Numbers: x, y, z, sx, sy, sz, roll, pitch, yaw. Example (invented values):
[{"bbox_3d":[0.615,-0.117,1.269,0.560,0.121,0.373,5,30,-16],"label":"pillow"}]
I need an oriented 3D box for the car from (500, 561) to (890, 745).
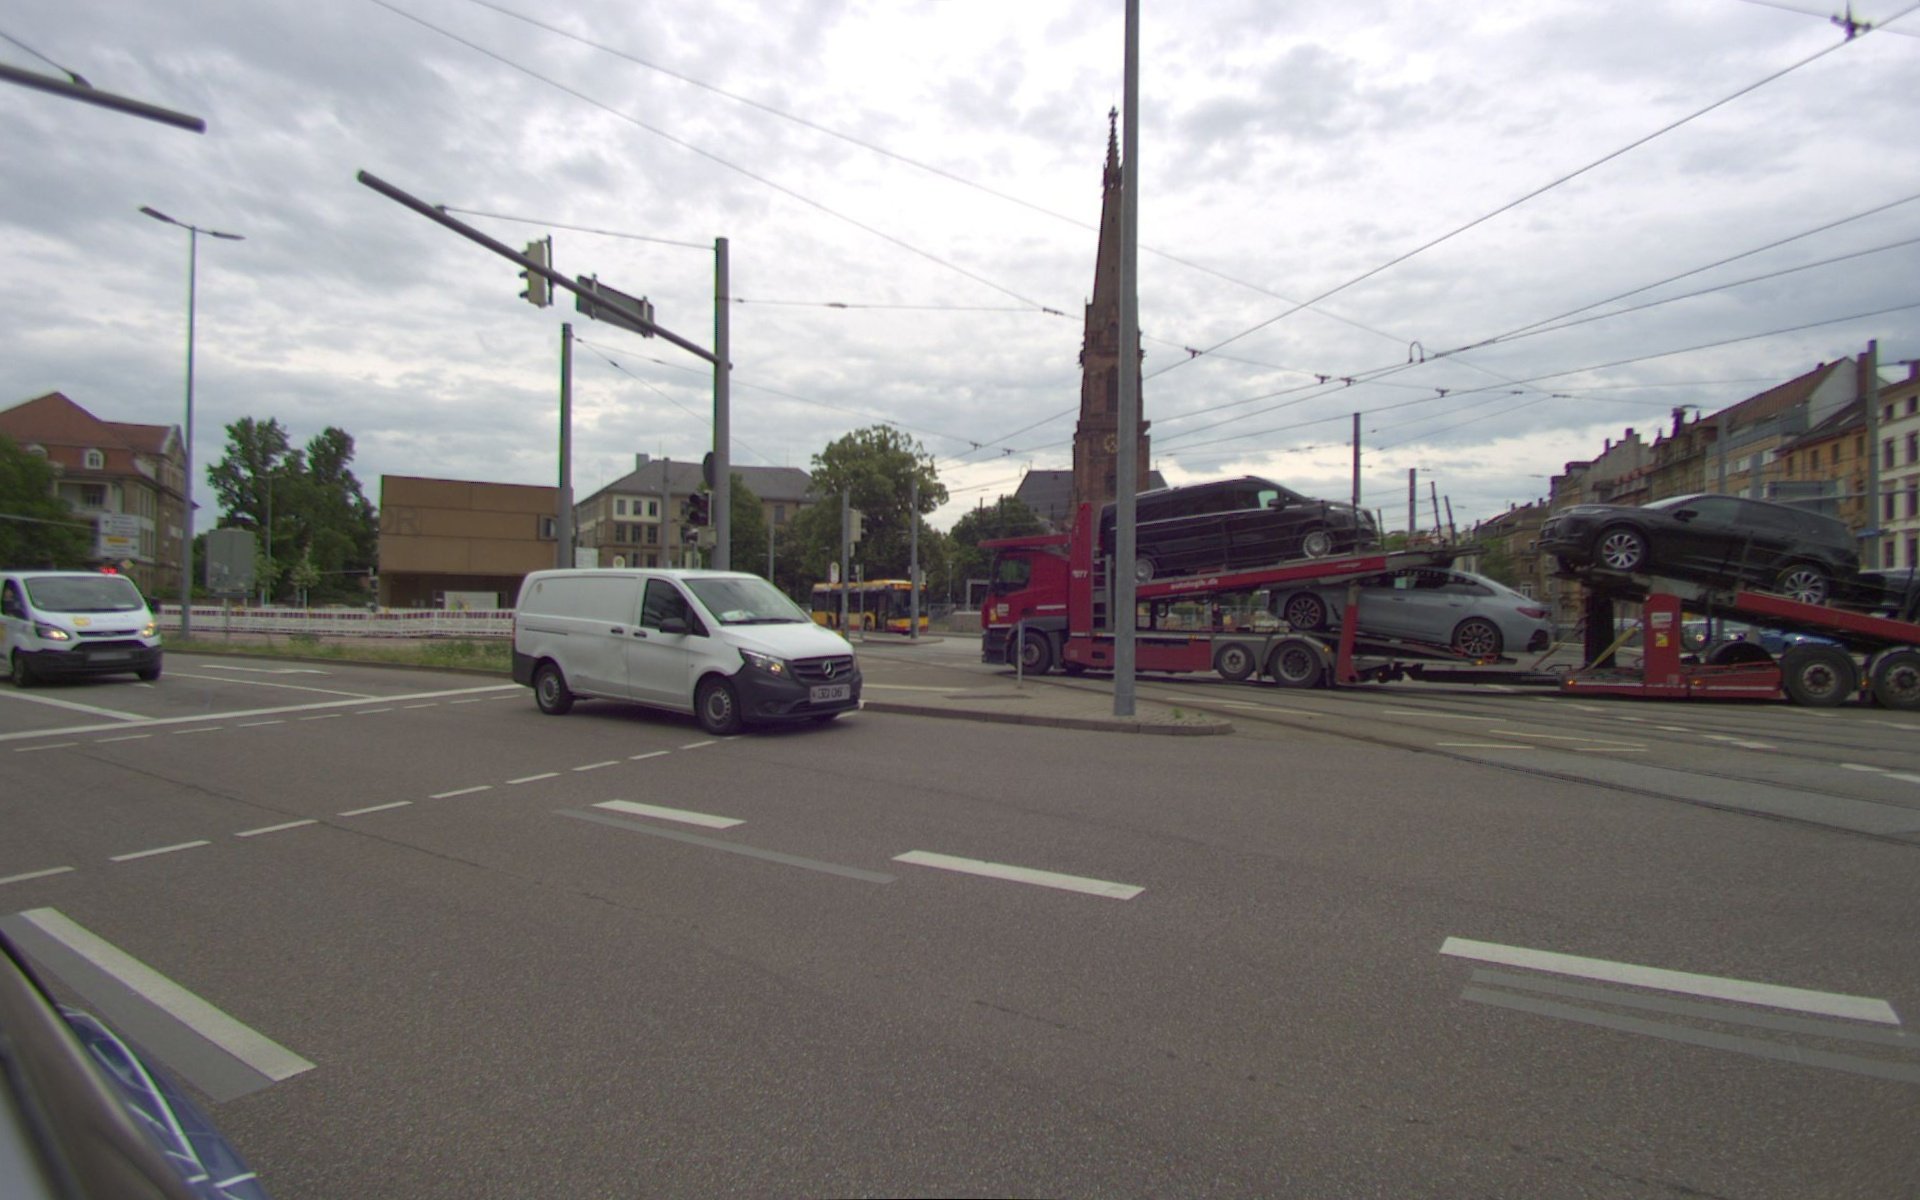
[{"bbox_3d":[-3.447,0.526,12.663,5.077,1.896,1.901,0,0,35],"label":"car"}]

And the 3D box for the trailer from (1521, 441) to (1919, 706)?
[{"bbox_3d":[14.990,-0.406,16.736,9.458,4.003,2.984,0,0,13],"label":"trailer"}]

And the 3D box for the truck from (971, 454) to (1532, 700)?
[{"bbox_3d":[5.427,-0.371,20.254,10.420,3.949,2.983,0,0,32],"label":"truck"}]

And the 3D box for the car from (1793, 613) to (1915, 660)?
[{"bbox_3d":[35.718,1.407,40.570,1.980,1.741,3.983,0,0,13],"label":"car"}]

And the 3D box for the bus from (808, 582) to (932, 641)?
[{"bbox_3d":[-5.536,0.616,59.075,2.815,3.100,12.059,0,0,-28],"label":"bus"}]

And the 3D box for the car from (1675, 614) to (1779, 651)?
[{"bbox_3d":[31.981,1.336,42.344,1.980,1.453,3.983,0,-1,13],"label":"car"}]

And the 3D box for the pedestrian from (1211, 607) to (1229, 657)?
[{"bbox_3d":[8.460,1.037,32.954,0.478,1.623,0.421,0,-1,31],"label":"pedestrian"}]

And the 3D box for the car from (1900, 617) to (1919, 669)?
[{"bbox_3d":[28.887,1.262,28.473,1.979,1.504,3.608,0,-1,12],"label":"car"}]

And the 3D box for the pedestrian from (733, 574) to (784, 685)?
[{"bbox_3d":[-3.705,0.533,18.530,0.768,1.958,0.985,1,-1,-19],"label":"pedestrian"}]

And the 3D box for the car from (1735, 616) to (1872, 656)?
[{"bbox_3d":[30.141,1.261,36.329,1.978,1.320,3.988,0,-1,9],"label":"car"}]

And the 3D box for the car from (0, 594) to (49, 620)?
[{"bbox_3d":[-63.571,0.451,66.749,1.891,1.730,5.230,0,-1,8],"label":"car"}]

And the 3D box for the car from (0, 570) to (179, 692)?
[{"bbox_3d":[-16.261,0.516,18.222,4.507,1.956,1.979,0,-1,31],"label":"car"}]
